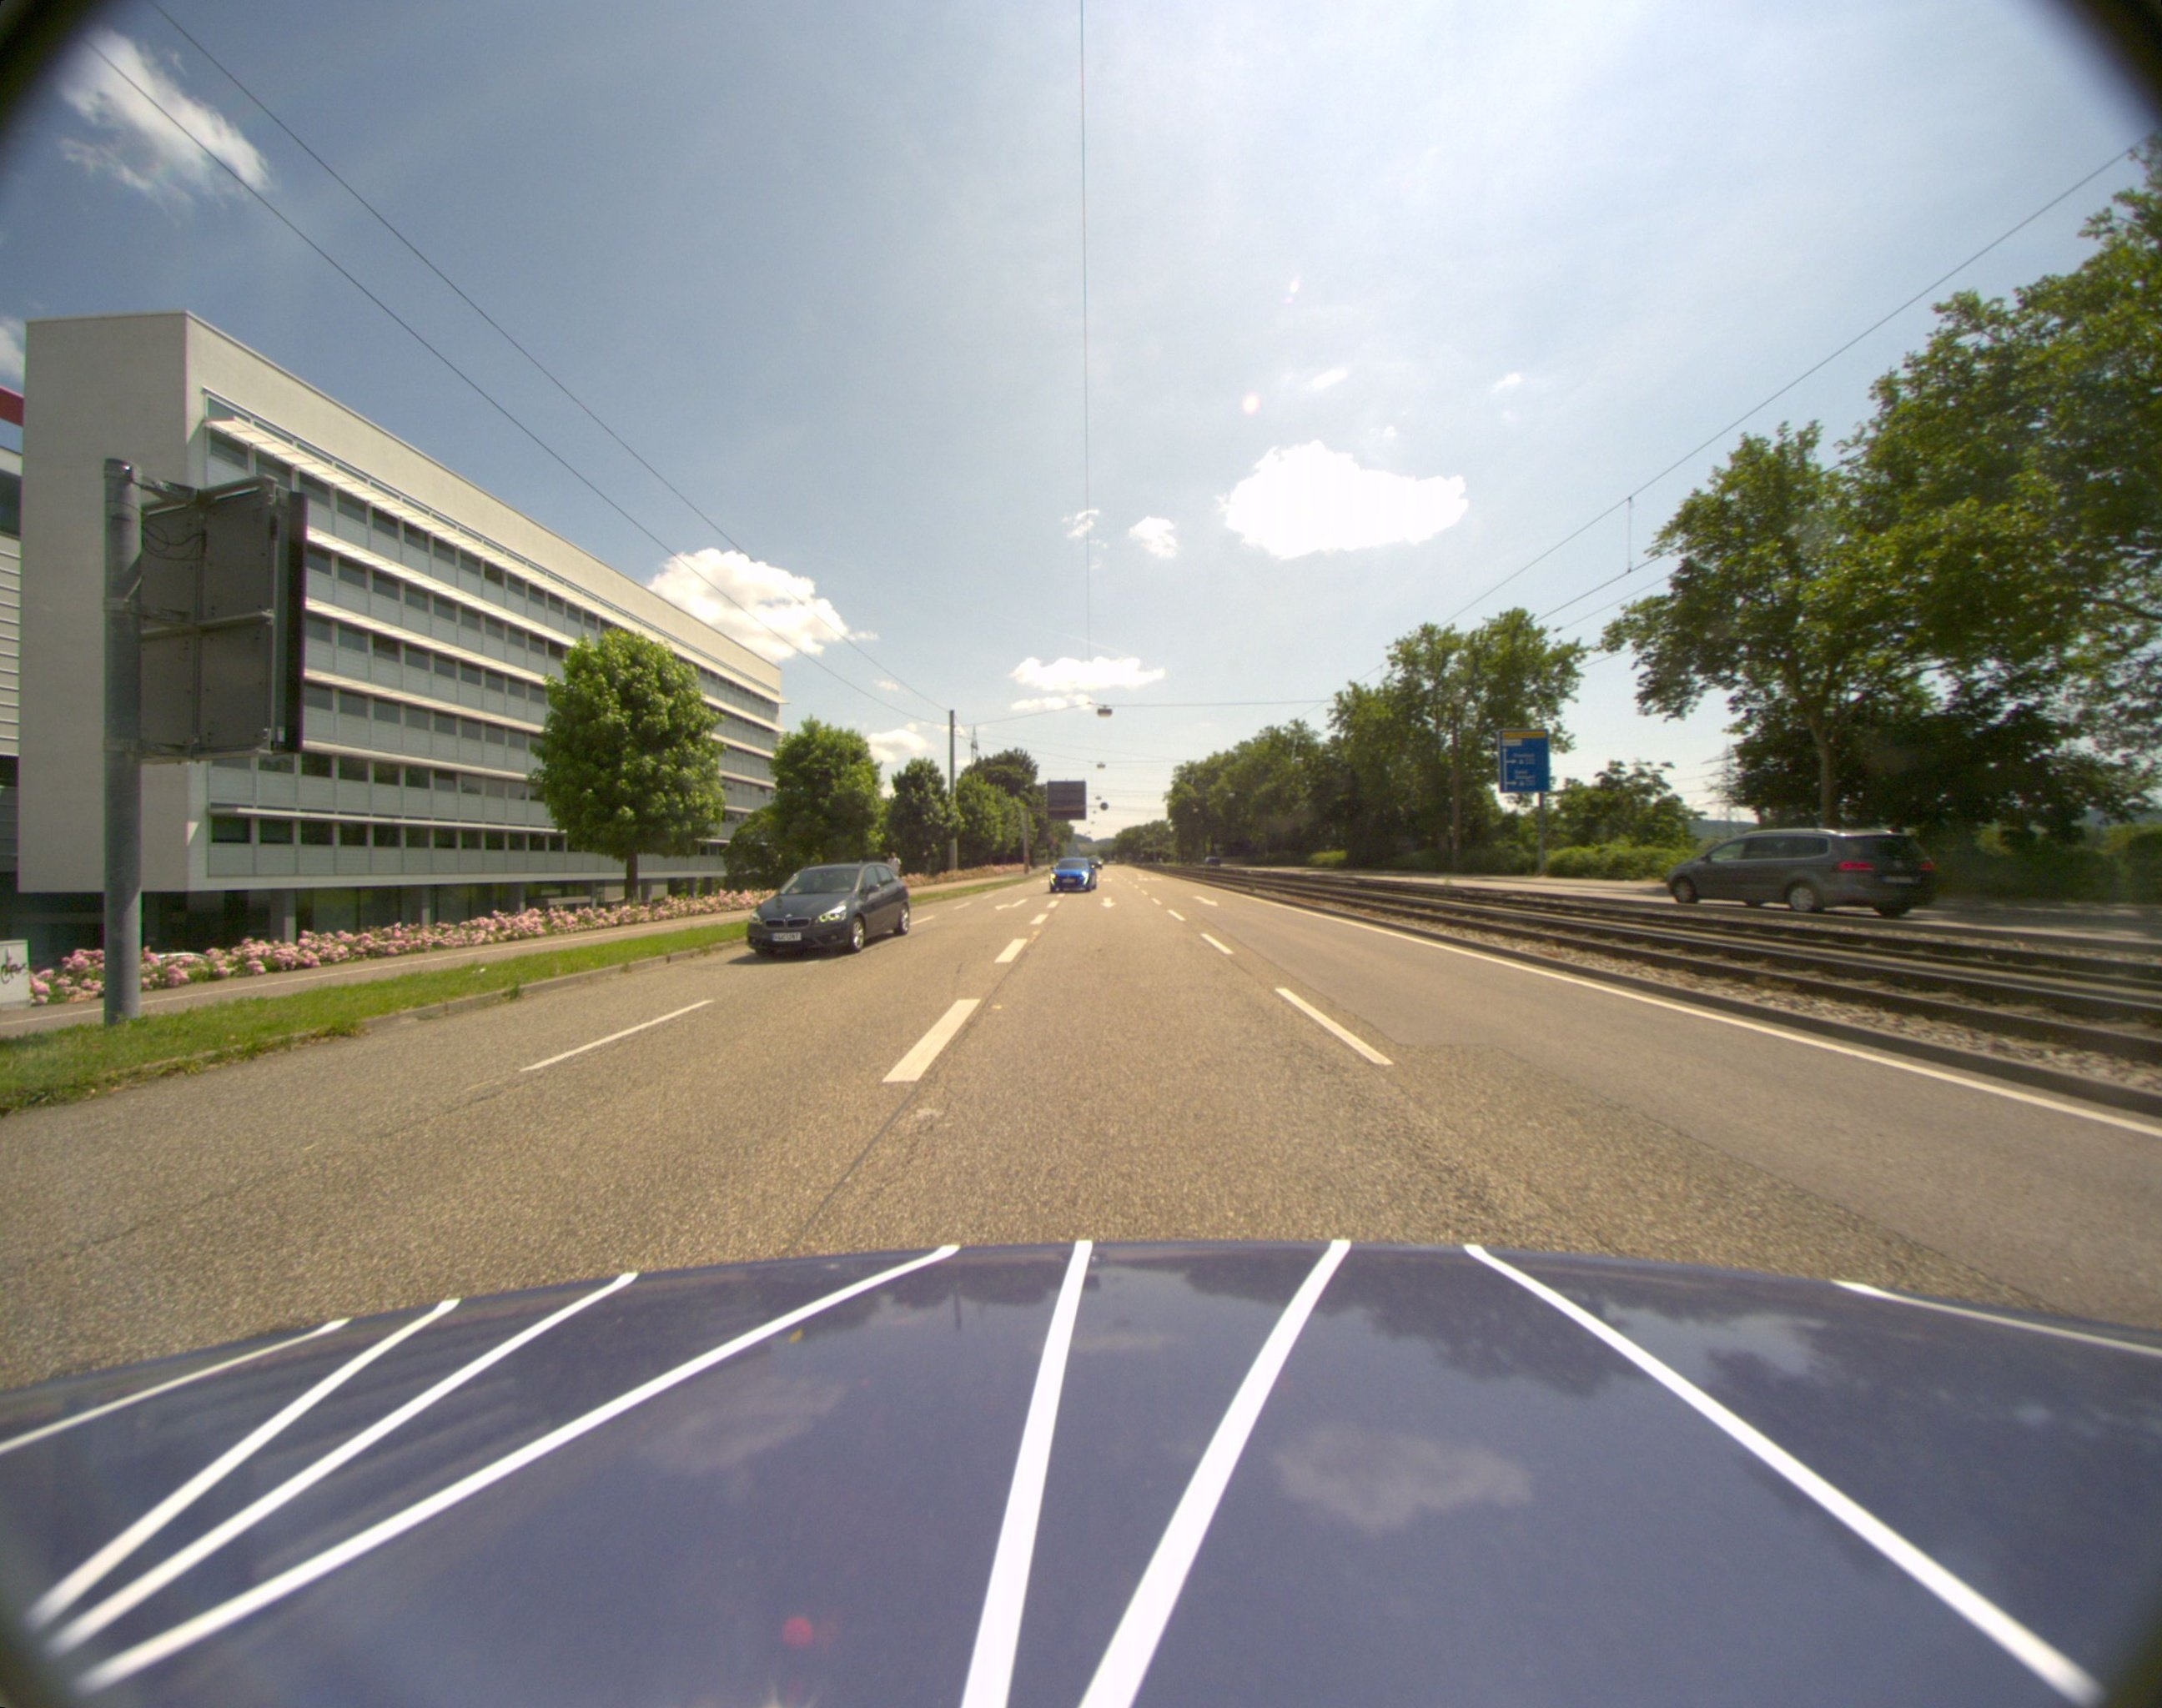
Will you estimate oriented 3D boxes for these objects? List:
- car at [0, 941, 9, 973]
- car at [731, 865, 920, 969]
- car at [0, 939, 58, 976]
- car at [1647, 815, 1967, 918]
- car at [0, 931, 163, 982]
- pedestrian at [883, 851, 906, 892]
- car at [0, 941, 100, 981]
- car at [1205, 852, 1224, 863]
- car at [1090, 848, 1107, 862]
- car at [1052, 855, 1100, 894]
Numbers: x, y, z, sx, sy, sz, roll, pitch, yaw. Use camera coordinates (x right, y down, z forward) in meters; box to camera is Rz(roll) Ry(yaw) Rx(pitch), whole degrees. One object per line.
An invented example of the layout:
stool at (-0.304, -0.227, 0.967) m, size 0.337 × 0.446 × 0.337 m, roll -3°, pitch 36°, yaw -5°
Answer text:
car at (-51.043, 4.835, 33.433) m, size 1.998 × 1.439 × 4.000 m, roll -2°, pitch 1°, yaw 1°
car at (-4.554, 1.056, 14.275) m, size 1.764 × 1.517 × 4.101 m, roll -2°, pitch 0°, yaw 6°
car at (-48.153, 4.680, 33.119) m, size 1.648 × 1.377 × 4.000 m, roll -2°, pitch 1°, yaw 1°
car at (14.974, 0.227, 16.217) m, size 1.999 × 1.820 × 4.968 m, roll 1°, pitch 0°, yaw -1°
car at (-43.734, 4.436, 33.317) m, size 1.998 × 1.602 × 4.000 m, roll -2°, pitch 1°, yaw 1°
pedestrian at (-8.783, 0.815, 35.849) m, size 0.758 × 1.838 × 0.931 m, roll -2°, pitch 1°, yaw 3°
car at (-46.017, 4.690, 32.965) m, size 1.609 × 1.314 × 4.000 m, roll -2°, pitch 1°, yaw 1°
car at (18.697, 0.441, 106.380) m, size 1.803 × 1.495 × 4.735 m, roll 1°, pitch 0°, yaw -1°
car at (2.078, 0.112, 89.654) m, size 1.898 × 1.564 × 4.511 m, roll -2°, pitch 1°, yaw 1°
car at (-0.167, 0.846, 32.980) m, size 1.842 × 1.446 × 4.001 m, roll -4°, pitch -1°, yaw 2°
